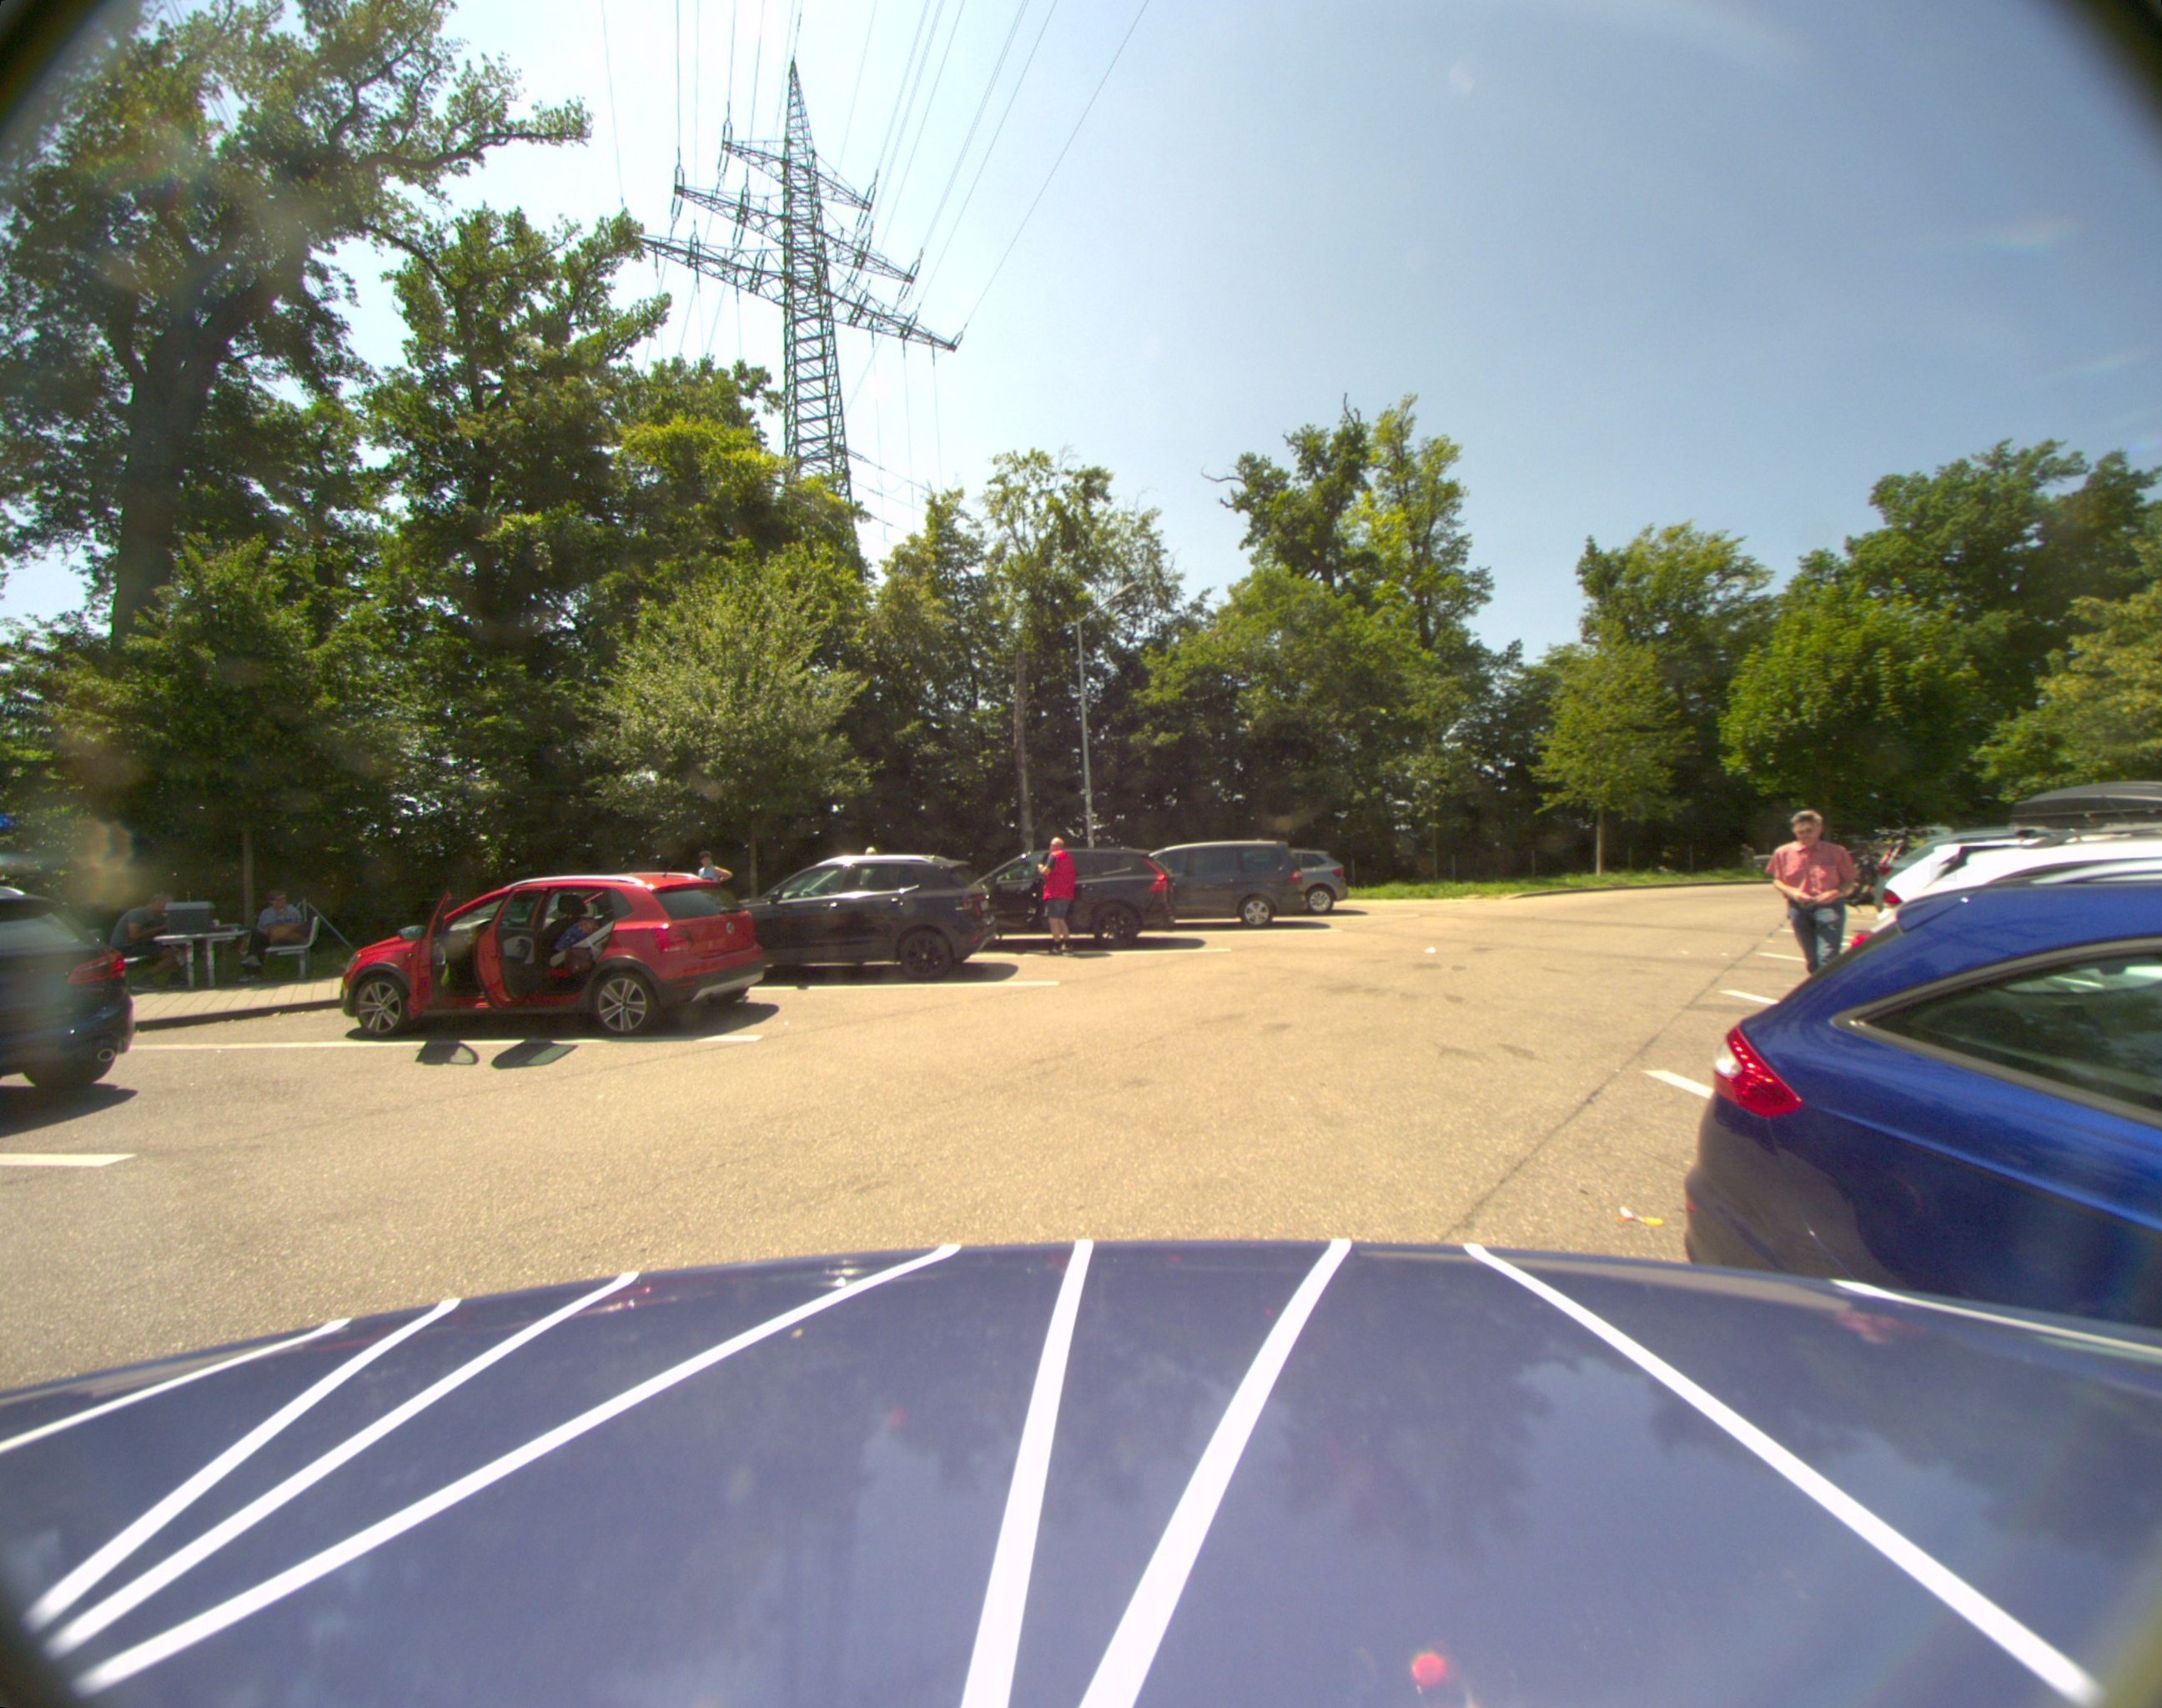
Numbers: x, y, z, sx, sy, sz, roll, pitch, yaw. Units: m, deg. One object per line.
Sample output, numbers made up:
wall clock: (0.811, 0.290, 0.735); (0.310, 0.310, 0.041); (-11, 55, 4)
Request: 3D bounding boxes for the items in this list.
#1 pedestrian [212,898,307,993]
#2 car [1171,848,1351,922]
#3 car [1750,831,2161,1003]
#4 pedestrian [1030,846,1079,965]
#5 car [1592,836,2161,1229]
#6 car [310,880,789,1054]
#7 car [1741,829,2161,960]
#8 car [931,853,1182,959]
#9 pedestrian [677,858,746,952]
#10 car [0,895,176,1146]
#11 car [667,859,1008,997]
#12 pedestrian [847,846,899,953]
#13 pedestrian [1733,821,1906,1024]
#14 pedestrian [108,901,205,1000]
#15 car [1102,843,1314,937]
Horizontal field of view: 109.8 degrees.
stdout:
pedestrian: (-11.916, 1.302, 11.027); (0.828, 1.287, 0.672); (-2, 0, 24)
car: (4.180, 0.716, 18.198); (3.964, 1.577, 1.781); (-2, 0, 7)
car: (10.066, 0.535, 8.154); (1.779, 1.456, 4.470); (-2, -1, 0)
pedestrian: (-0.390, 0.772, 11.671); (0.660, 1.745, 0.636); (-2, 0, 1)
car: (4.909, 0.658, 3.691); (1.779, 1.456, 4.470); (-2, -1, 0)
car: (-5.191, 1.072, 7.715); (3.704, 1.448, 1.781); (-2, 0, 7)
car: (12.367, 0.480, 10.938); (1.779, 1.456, 4.470); (-2, -1, 0)
car: (-0.325, 0.841, 12.954); (3.964, 1.582, 1.781); (-2, 0, 8)
pedestrian: (-6.506, 0.875, 13.380); (0.713, 1.584, 0.811); (-2, 0, 37)
car: (-8.916, 1.155, 4.997); (4.011, 1.558, 1.846); (-2, 0, 6)
car: (-3.144, 0.939, 10.375); (3.966, 1.582, 1.841); (-2, 0, 3)
pedestrian: (-3.794, 0.809, 13.829); (0.682, 1.854, 0.713); (-2, 0, -30)
pedestrian: (6.203, 0.552, 6.424); (0.672, 1.592, 0.759); (-2, 0, 1)
pedestrian: (-12.734, 1.303, 10.470); (0.652, 1.262, 0.672); (-2, 0, 24)
car: (2.511, 0.699, 15.446); (3.964, 1.678, 1.781); (-2, 0, 7)
